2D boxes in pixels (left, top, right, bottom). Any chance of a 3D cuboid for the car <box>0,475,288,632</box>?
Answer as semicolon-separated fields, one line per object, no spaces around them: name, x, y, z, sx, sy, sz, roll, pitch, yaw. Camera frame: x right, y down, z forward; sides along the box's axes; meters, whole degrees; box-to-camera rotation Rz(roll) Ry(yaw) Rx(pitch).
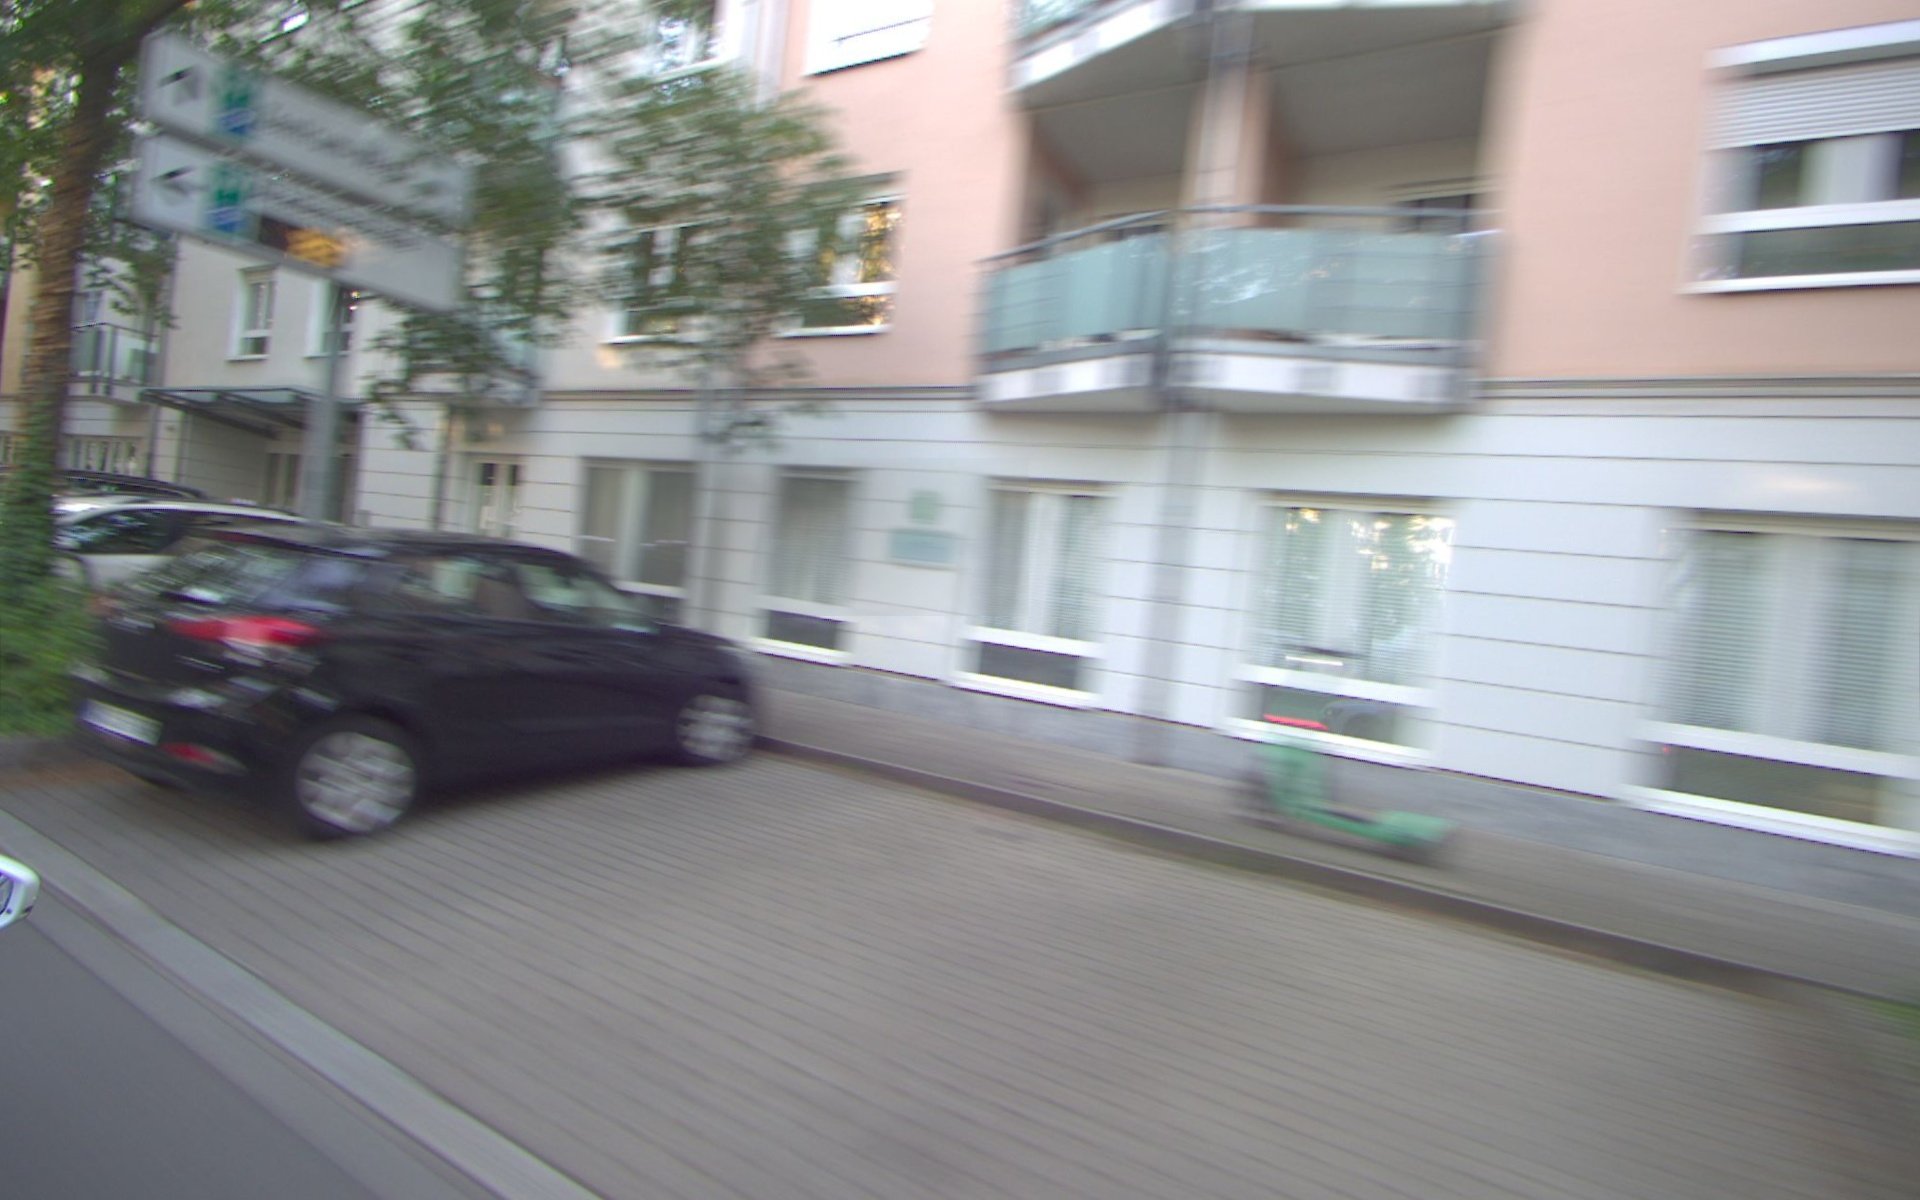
car;-9.874;-0.523;10.855;1.699;1.546;3.985;7;3;33

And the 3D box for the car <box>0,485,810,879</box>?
car;-2.935;0.305;6.235;1.880;1.495;3.989;7;3;28

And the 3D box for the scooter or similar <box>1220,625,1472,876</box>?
scooter or similar;2.302;0.854;6.049;1.232;1.256;0.399;7;1;32

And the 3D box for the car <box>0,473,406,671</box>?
car;-7.866;-0.279;9.223;1.743;1.573;4.573;7;2;31

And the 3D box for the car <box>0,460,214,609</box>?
car;-12.039;-0.863;12.214;1.861;1.726;4.390;7;2;24
